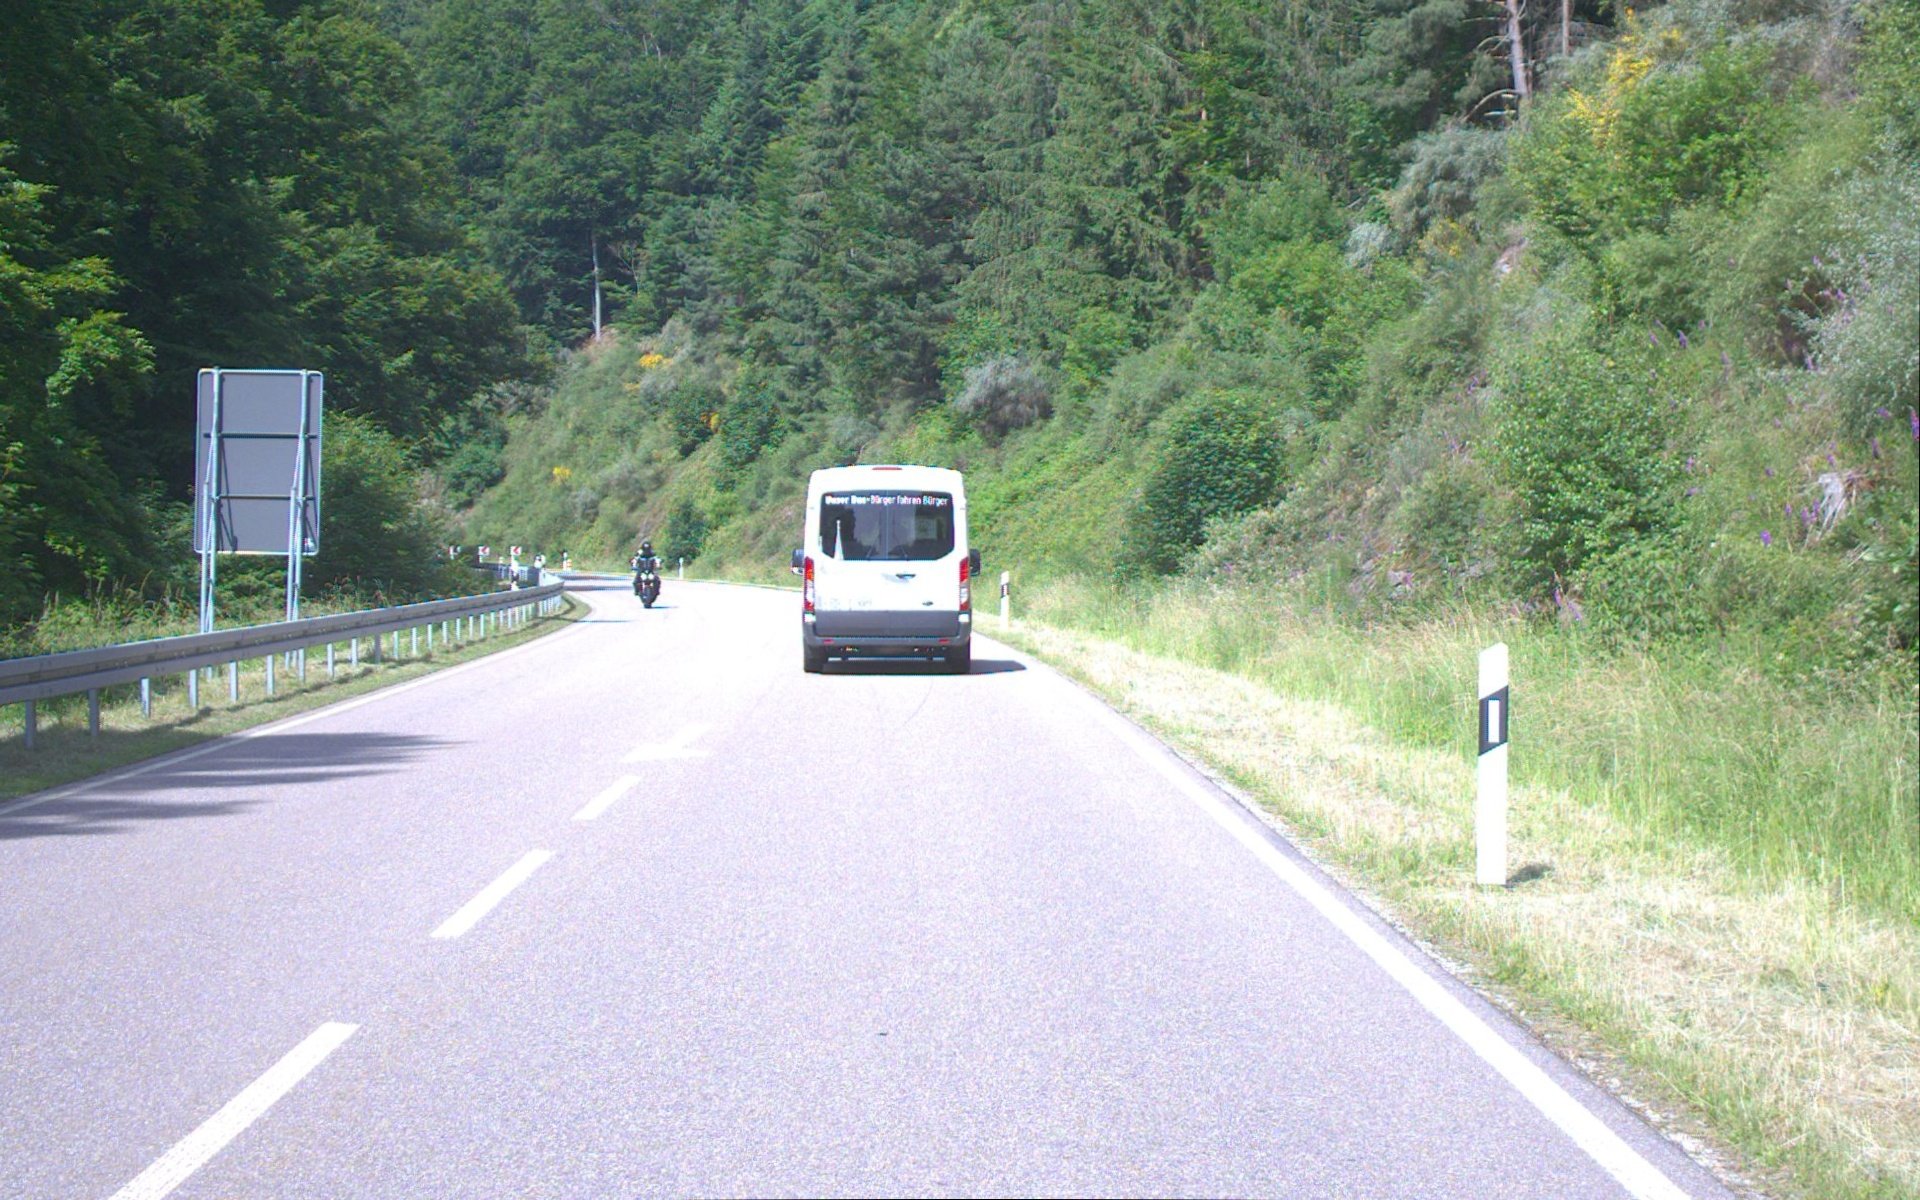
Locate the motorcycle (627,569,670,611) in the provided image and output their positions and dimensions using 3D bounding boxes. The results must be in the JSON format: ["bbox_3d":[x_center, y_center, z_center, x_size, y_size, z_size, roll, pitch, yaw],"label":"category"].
[{"bbox_3d":[-8.067,-0.262,89.133,0.984,1.068,1.963,0,1,-2],"label":"motorcycle"}]

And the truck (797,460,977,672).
[{"bbox_3d":[-0.942,-0.441,42.408,2.083,2.451,4.875,0,1,-2],"label":"truck"}]

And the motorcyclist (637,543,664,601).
[{"bbox_3d":[-8.021,-0.733,89.117,0.658,1.508,0.934,0,1,-2],"label":"motorcyclist"}]
